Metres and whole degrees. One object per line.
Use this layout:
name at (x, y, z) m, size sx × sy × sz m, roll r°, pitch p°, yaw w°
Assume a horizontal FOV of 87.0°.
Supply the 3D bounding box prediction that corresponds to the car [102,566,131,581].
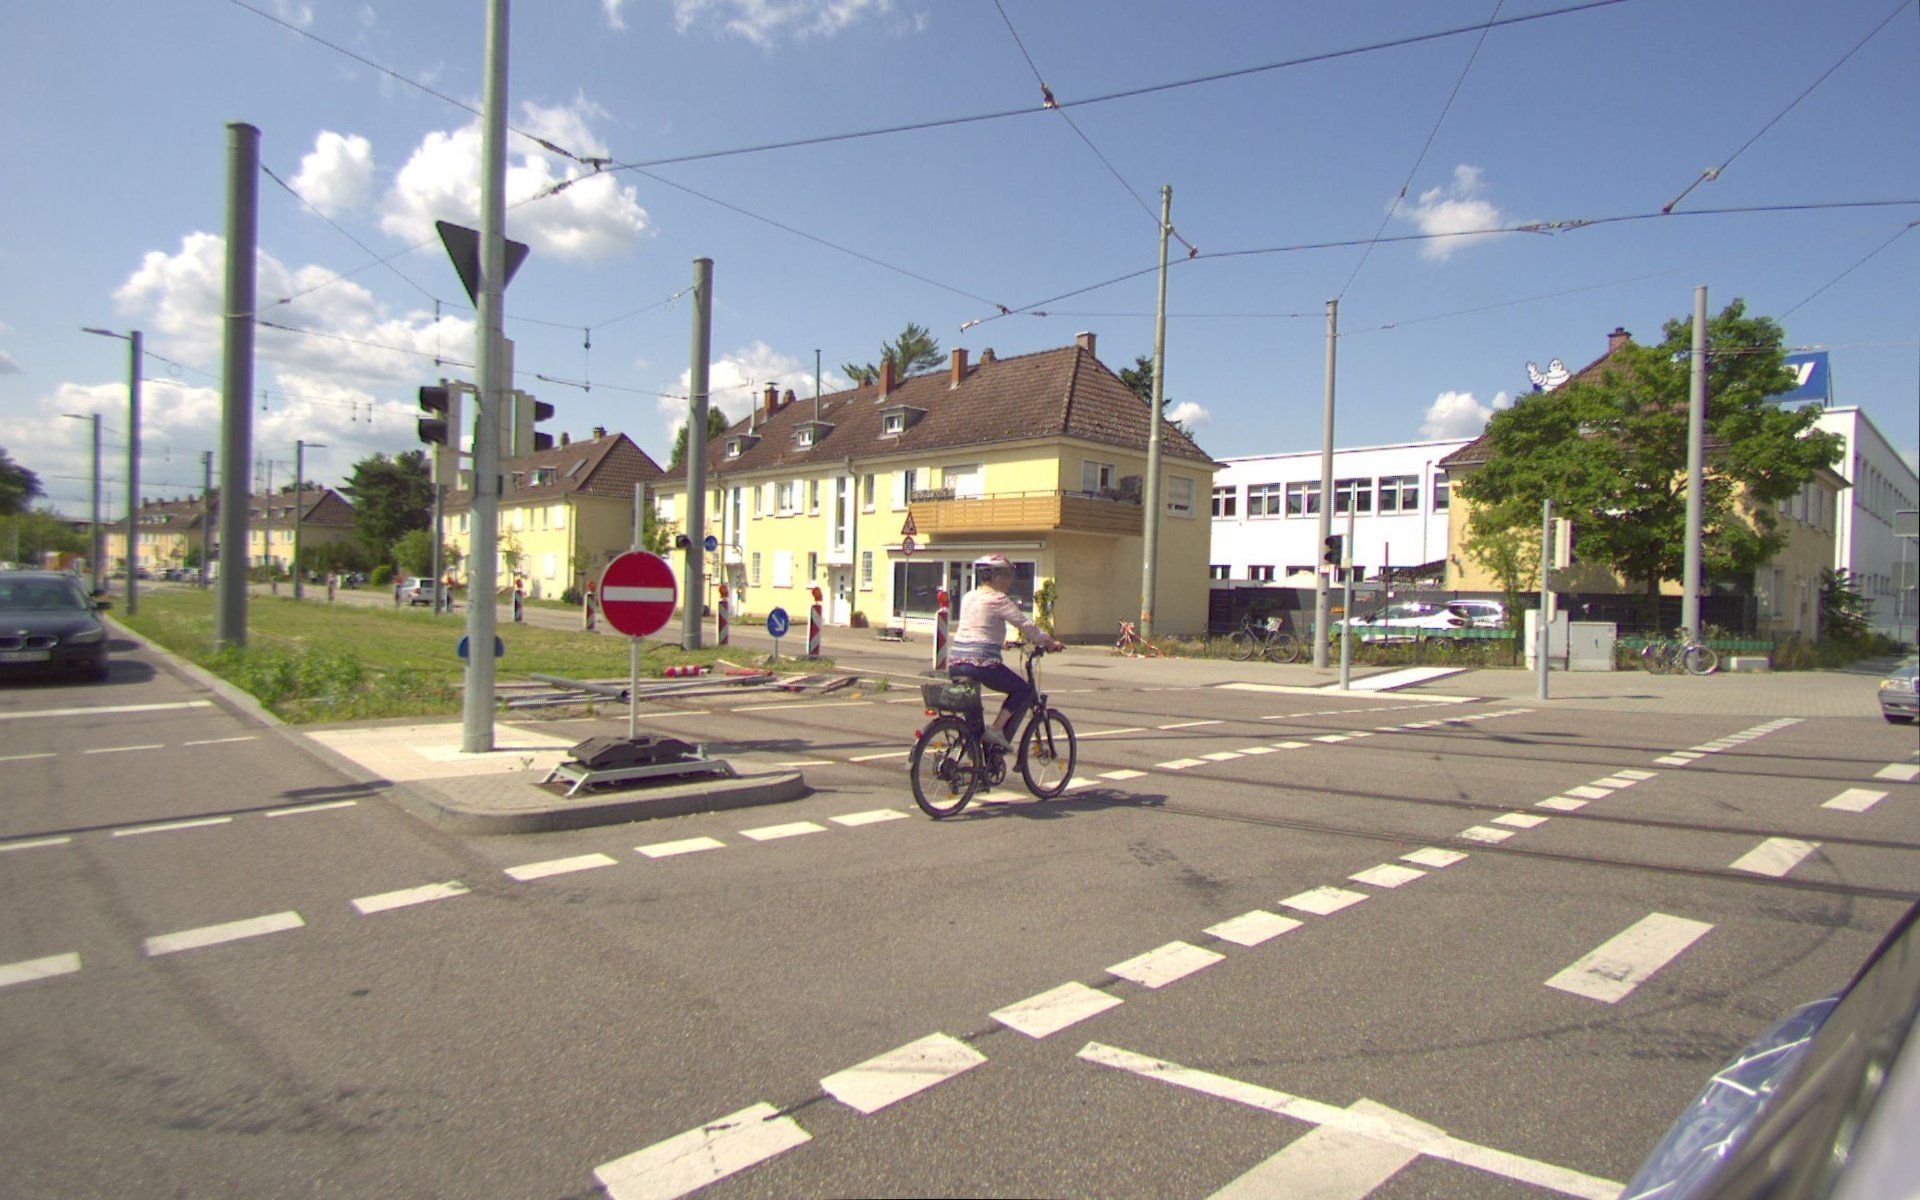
car at (-98.976, -3.087, 118.764) m, size 3.982 × 1.746 × 1.971 m, roll 0°, pitch 0°, yaw 41°

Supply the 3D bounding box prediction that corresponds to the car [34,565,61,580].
car at (-117.638, -3.528, 130.422) m, size 3.978 × 1.746 × 1.972 m, roll 0°, pitch 0°, yaw 38°

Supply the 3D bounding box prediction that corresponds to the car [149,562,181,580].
car at (-84.294, -3.061, 107.309) m, size 3.982 × 1.746 × 1.971 m, roll 0°, pitch 0°, yaw 41°

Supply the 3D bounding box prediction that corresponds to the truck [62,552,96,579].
truck at (-110.701, -4.315, 127.122) m, size 5.301 × 3.267 × 1.975 m, roll 0°, pitch 0°, yaw 35°

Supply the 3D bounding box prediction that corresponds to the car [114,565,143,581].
car at (-94.530, -3.078, 115.039) m, size 3.982 × 1.746 × 1.971 m, roll 0°, pitch 0°, yaw 41°

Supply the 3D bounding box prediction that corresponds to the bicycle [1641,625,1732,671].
bicycle at (16.503, 1.087, 22.995) m, size 1.722 × 1.031 × 0.463 m, roll 0°, pitch 0°, yaw 0°

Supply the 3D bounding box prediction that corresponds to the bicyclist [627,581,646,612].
bicyclist at (-13.077, -0.143, 40.932) m, size 0.501 × 1.249 × 0.577 m, roll 1°, pitch 1°, yaw -45°

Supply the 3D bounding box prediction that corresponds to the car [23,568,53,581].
car at (-122.895, -3.378, 134.854) m, size 3.968 × 1.746 × 1.978 m, roll 0°, pitch 0°, yaw 32°

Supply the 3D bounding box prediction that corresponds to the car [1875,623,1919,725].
car at (15.777, 1.066, 15.042) m, size 4.370 × 1.415 × 1.611 m, roll 0°, pitch 0°, yaw -24°

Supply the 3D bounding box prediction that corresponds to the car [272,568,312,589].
car at (-56.510, -1.808, 85.623) m, size 3.986 × 1.746 × 1.969 m, roll 0°, pitch 0°, yaw 44°

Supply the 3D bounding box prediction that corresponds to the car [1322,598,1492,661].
car at (12.836, 0.808, 29.208) m, size 4.106 × 1.617 × 1.771 m, roll 2°, pitch 0°, yaw 44°

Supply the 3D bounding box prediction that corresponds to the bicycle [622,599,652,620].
bicycle at (-13.059, 0.362, 40.916) m, size 0.497 × 0.791 × 1.580 m, roll 0°, pitch 1°, yaw -44°

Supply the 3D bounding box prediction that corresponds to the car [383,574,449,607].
car at (-27.261, -0.495, 50.693) m, size 4.004 × 1.421 × 1.708 m, roll 2°, pitch -2°, yaw 44°

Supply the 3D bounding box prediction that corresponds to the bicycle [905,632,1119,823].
bicycle at (0.400, 0.816, 7.075) m, size 0.650 × 1.132 × 1.563 m, roll 0°, pitch 0°, yaw 43°

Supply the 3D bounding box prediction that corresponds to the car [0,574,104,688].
car at (-13.603, 0.356, 14.617) m, size 1.710 × 1.345 × 4.322 m, roll 0°, pitch 2°, yaw -43°

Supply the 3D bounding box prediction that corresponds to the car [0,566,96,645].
car at (-18.401, 0.046, 20.119) m, size 1.710 × 1.345 × 4.322 m, roll 0°, pitch 2°, yaw -43°

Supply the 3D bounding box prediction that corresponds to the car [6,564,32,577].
car at (-130.100, -4.030, 139.930) m, size 3.976 × 1.746 × 1.974 m, roll 0°, pitch 0°, yaw 36°

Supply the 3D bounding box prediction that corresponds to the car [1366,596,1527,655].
car at (14.831, 0.727, 30.993) m, size 4.106 × 1.617 × 1.771 m, roll 2°, pitch 0°, yaw 44°

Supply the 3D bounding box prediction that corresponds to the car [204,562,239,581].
car at (-68.930, -2.635, 94.437) m, size 3.986 × 1.746 × 1.969 m, roll 0°, pitch 0°, yaw 44°

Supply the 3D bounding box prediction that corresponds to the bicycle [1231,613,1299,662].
bicycle at (7.372, 0.887, 24.496) m, size 1.556 × 1.152 × 0.378 m, roll 0°, pitch 0°, yaw 23°

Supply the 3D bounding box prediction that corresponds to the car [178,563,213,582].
car at (-75.429, -2.679, 99.865) m, size 3.982 × 1.746 × 1.971 m, roll 0°, pitch 0°, yaw 41°

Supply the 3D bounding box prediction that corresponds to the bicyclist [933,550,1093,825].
bicyclist at (0.382, 0.556, 7.049) m, size 0.650 × 1.760 × 0.969 m, roll 0°, pitch -1°, yaw 43°
